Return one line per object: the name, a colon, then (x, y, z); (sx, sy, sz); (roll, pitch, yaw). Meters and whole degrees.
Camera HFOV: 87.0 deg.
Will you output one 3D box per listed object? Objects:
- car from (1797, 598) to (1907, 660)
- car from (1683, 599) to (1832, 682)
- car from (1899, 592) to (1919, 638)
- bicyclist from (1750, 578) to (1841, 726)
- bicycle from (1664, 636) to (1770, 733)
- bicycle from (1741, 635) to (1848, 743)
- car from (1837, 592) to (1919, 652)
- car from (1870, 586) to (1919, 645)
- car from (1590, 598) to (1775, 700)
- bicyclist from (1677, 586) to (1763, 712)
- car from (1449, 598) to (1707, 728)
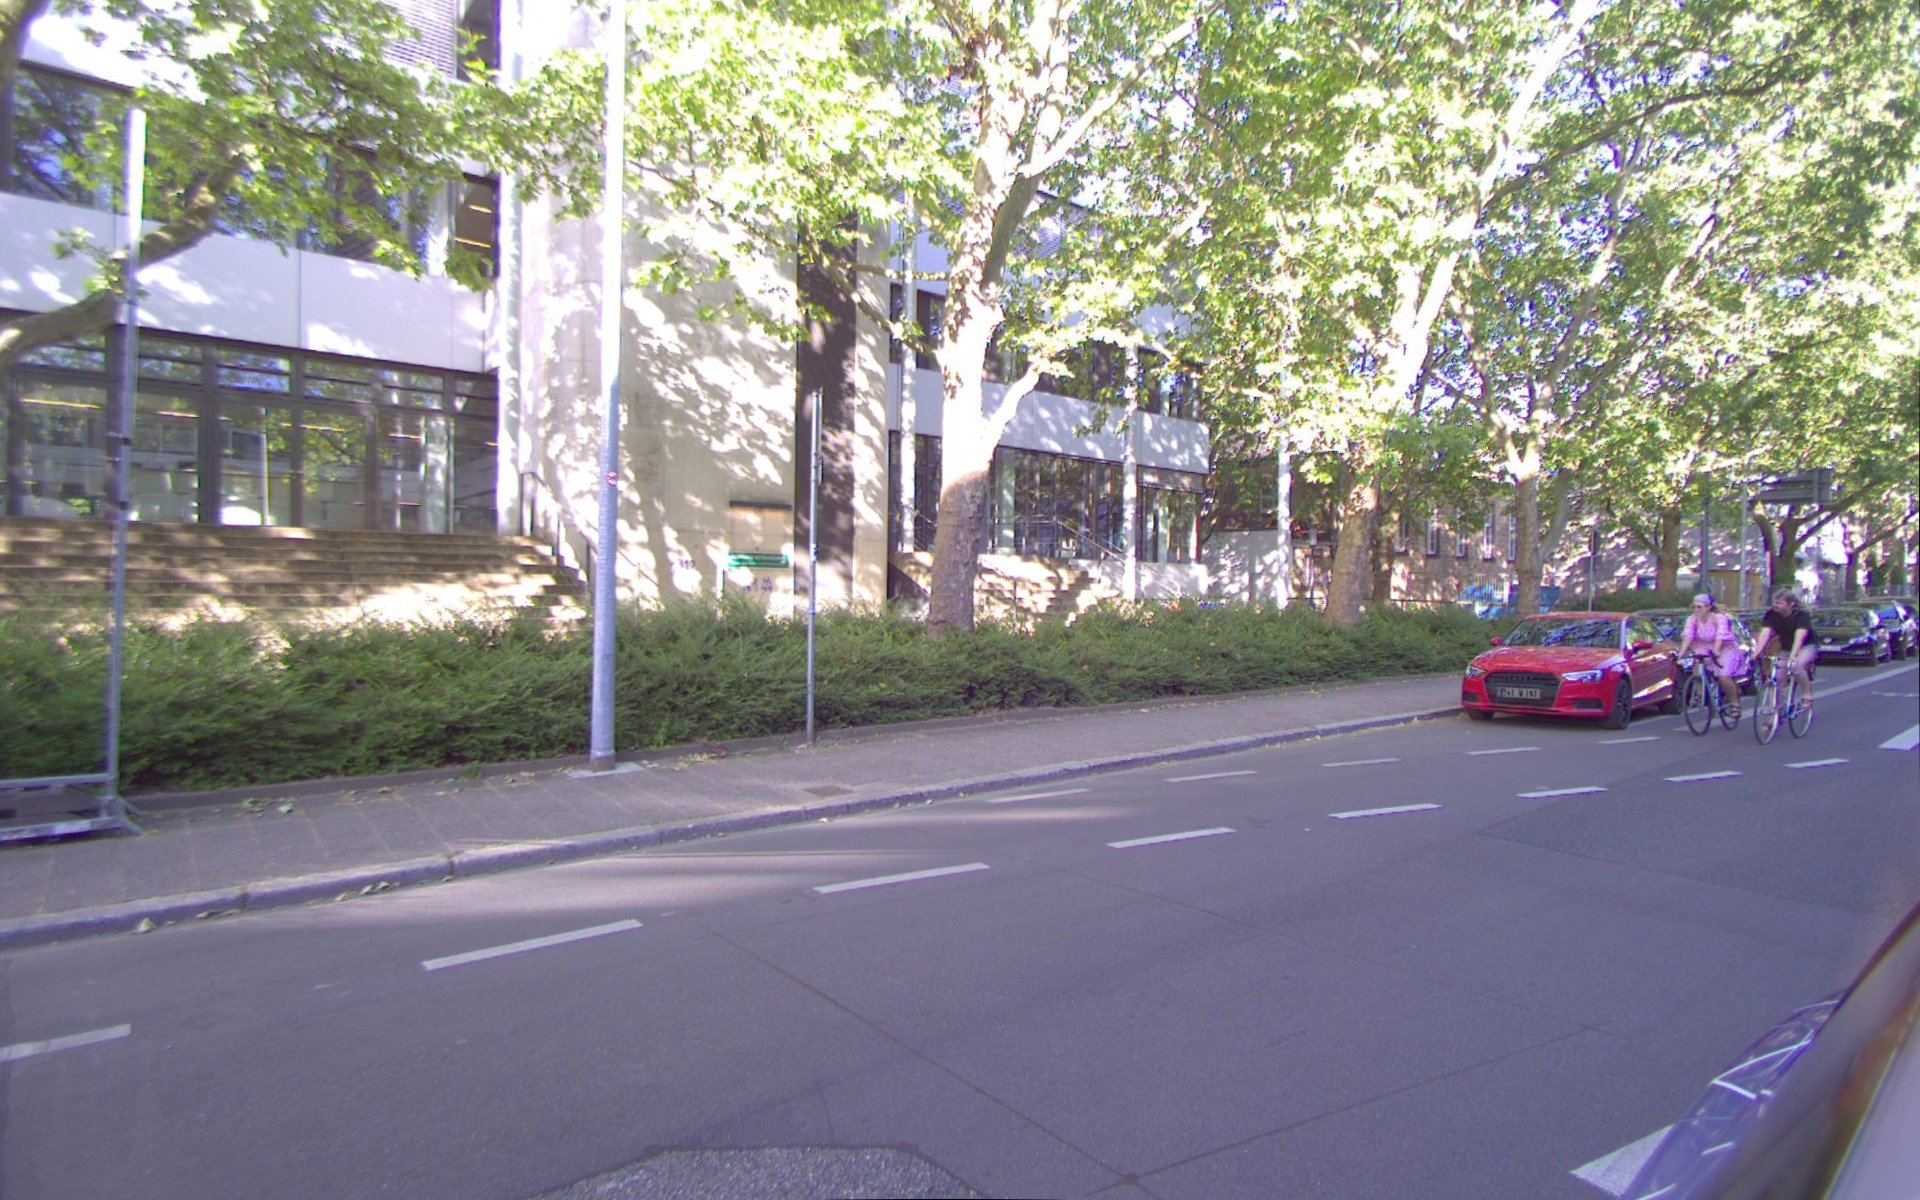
car: (22.903, 0.698, 25.953); (3.674, 1.483, 1.634); (0, -1, -41)
car: (15.770, 0.725, 19.961); (3.674, 1.483, 1.634); (0, -1, -41)
car: (35.966, 0.531, 37.259); (3.777, 1.675, 1.634); (0, -1, -41)
bicyclist: (9.125, 0.539, 11.047); (0.874, 1.535, 0.611); (0, -1, -41)
bicycle: (8.895, 0.948, 11.861); (1.848, 0.997, 0.601); (0, -1, -41)
bicycle: (9.106, 0.927, 11.025); (1.701, 1.039, 0.611); (0, -1, -41)
car: (26.586, 0.585, 29.009); (3.777, 1.607, 1.634); (0, -1, -41)
car: (31.063, 0.476, 32.966); (3.777, 1.828, 1.634); (0, -1, -41)
car: (11.854, 0.720, 16.532); (3.674, 1.483, 1.634); (0, -1, -41)
bicyclist: (8.959, 0.551, 11.924); (0.915, 1.420, 0.601); (0, -1, -41)
car: (8.346, 0.724, 13.536); (4.053, 1.483, 1.802); (0, -1, -41)
